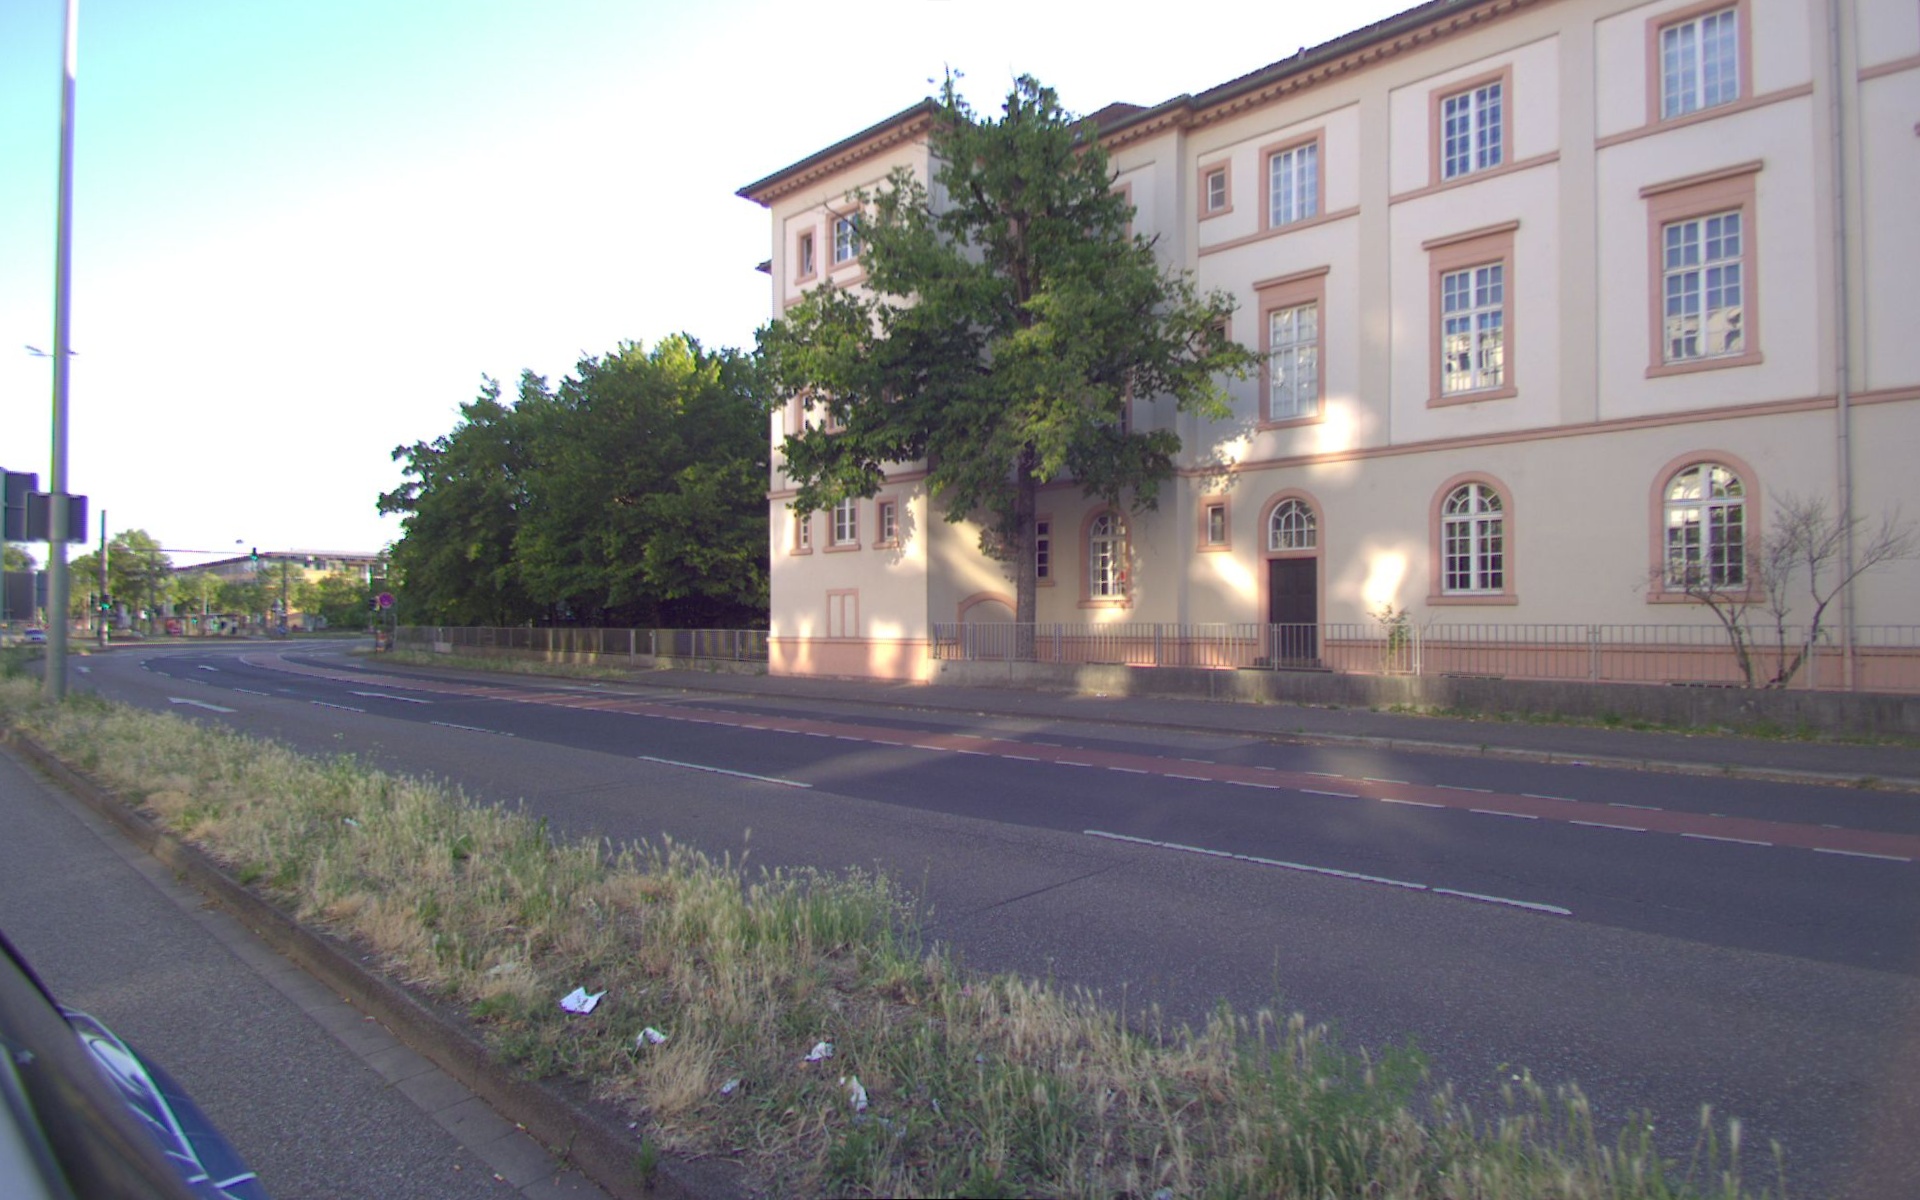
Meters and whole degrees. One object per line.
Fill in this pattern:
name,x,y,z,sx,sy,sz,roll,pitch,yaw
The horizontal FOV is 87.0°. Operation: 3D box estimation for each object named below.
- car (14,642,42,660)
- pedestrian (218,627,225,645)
car,-83.638,4.535,90.820,1.650,1.429,4.447,0,-1,-40
pedestrian,-85.622,4.139,117.311,0.664,2.029,0.549,-2,-2,41
